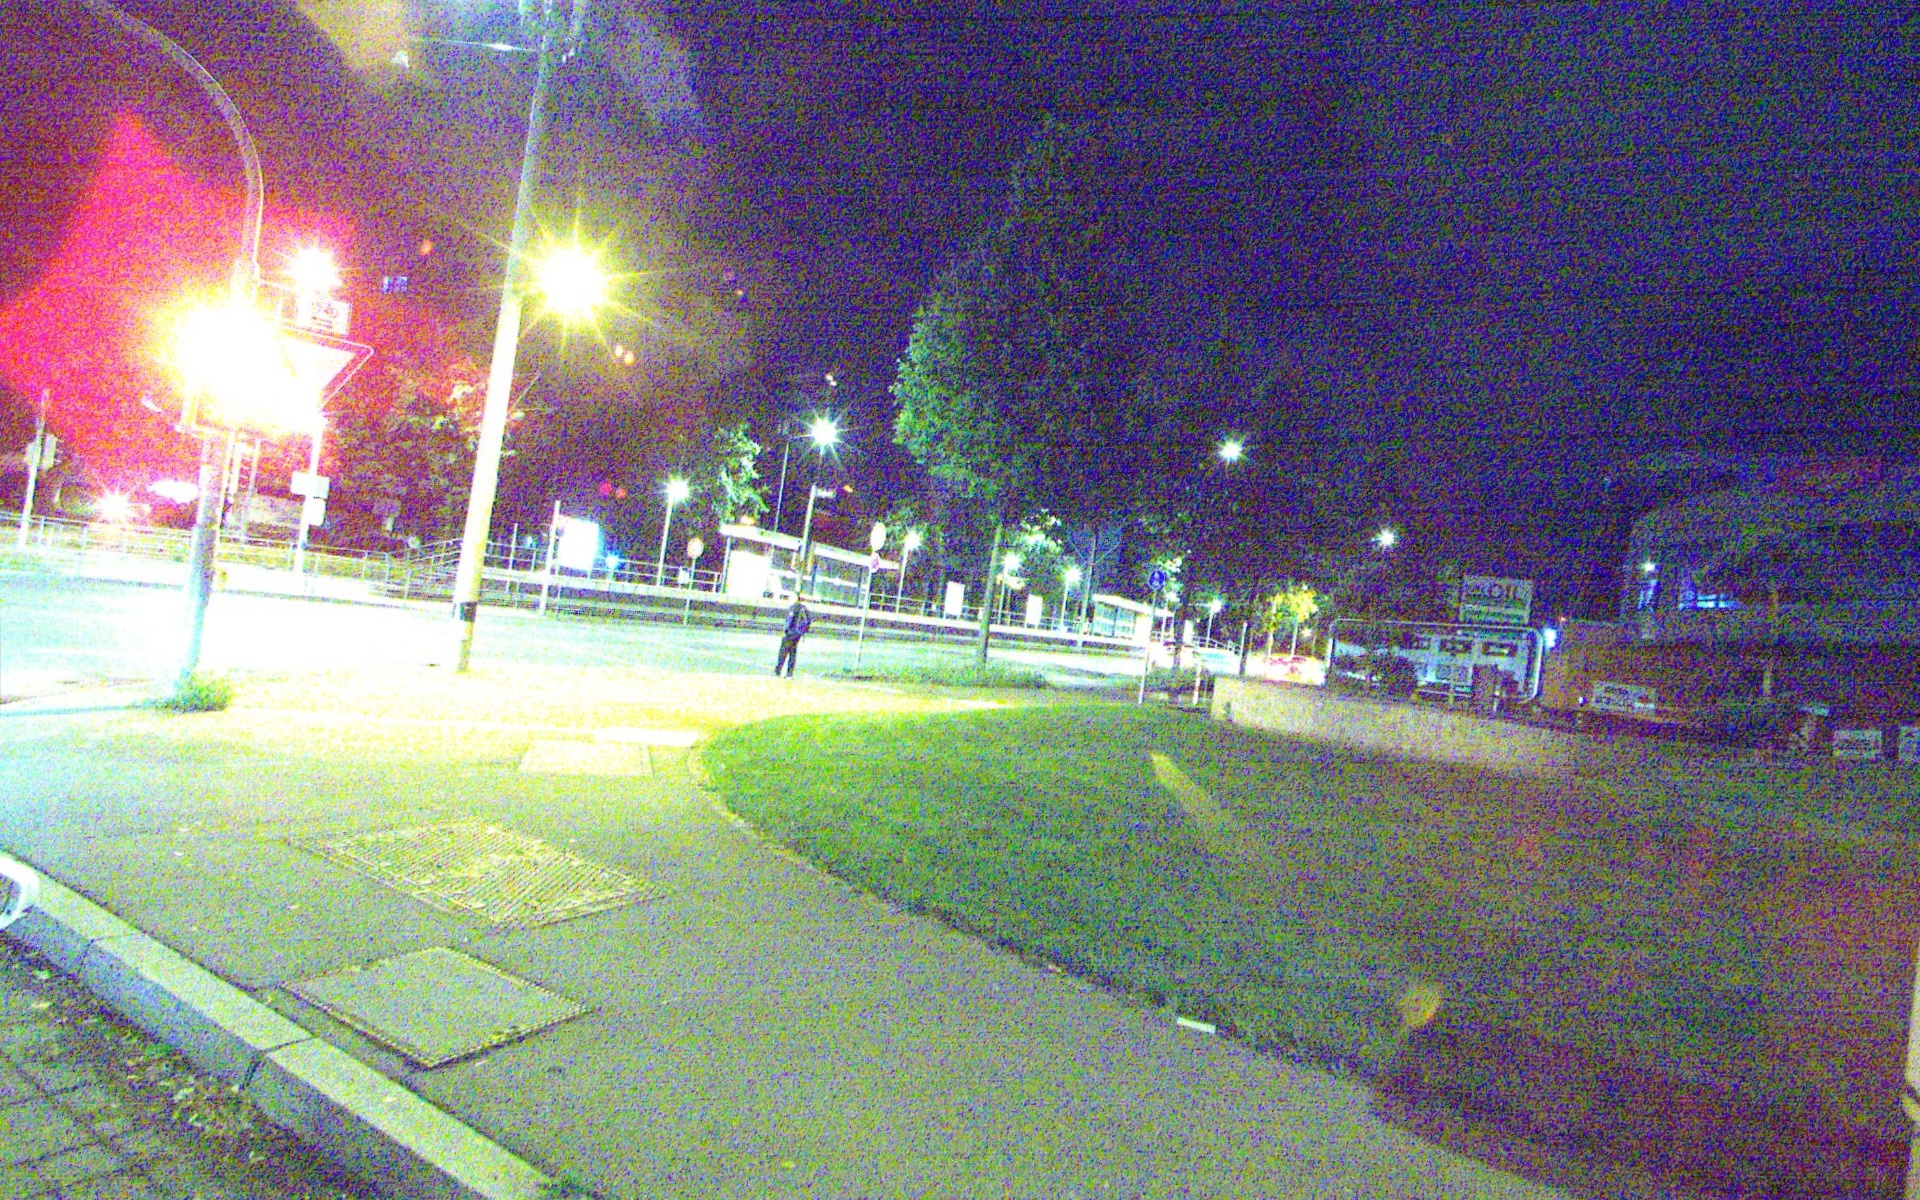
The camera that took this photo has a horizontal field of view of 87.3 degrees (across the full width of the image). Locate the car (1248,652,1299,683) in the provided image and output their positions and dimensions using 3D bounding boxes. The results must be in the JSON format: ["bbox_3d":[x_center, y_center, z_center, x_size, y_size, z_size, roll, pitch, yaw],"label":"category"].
[{"bbox_3d":[19.096,4.132,61.227,1.833,1.510,4.477,8,0,31],"label":"car"}]

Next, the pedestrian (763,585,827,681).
[{"bbox_3d":[-3.200,0.640,19.479,0.820,1.767,0.755,4,0,31],"label":"pedestrian"}]

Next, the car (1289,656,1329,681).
[{"bbox_3d":[25.506,5.025,73.451,1.762,1.481,3.994,6,-2,33],"label":"car"}]

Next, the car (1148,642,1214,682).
[{"bbox_3d":[10.621,2.984,48.174,1.660,1.525,3.833,9,0,34],"label":"car"}]

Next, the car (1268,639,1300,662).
[{"bbox_3d":[27.626,4.311,85.649,1.719,1.605,3.995,5,-2,29],"label":"car"}]

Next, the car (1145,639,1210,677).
[{"bbox_3d":[12.028,3.213,55.443,1.784,1.584,4.514,10,0,35],"label":"car"}]
